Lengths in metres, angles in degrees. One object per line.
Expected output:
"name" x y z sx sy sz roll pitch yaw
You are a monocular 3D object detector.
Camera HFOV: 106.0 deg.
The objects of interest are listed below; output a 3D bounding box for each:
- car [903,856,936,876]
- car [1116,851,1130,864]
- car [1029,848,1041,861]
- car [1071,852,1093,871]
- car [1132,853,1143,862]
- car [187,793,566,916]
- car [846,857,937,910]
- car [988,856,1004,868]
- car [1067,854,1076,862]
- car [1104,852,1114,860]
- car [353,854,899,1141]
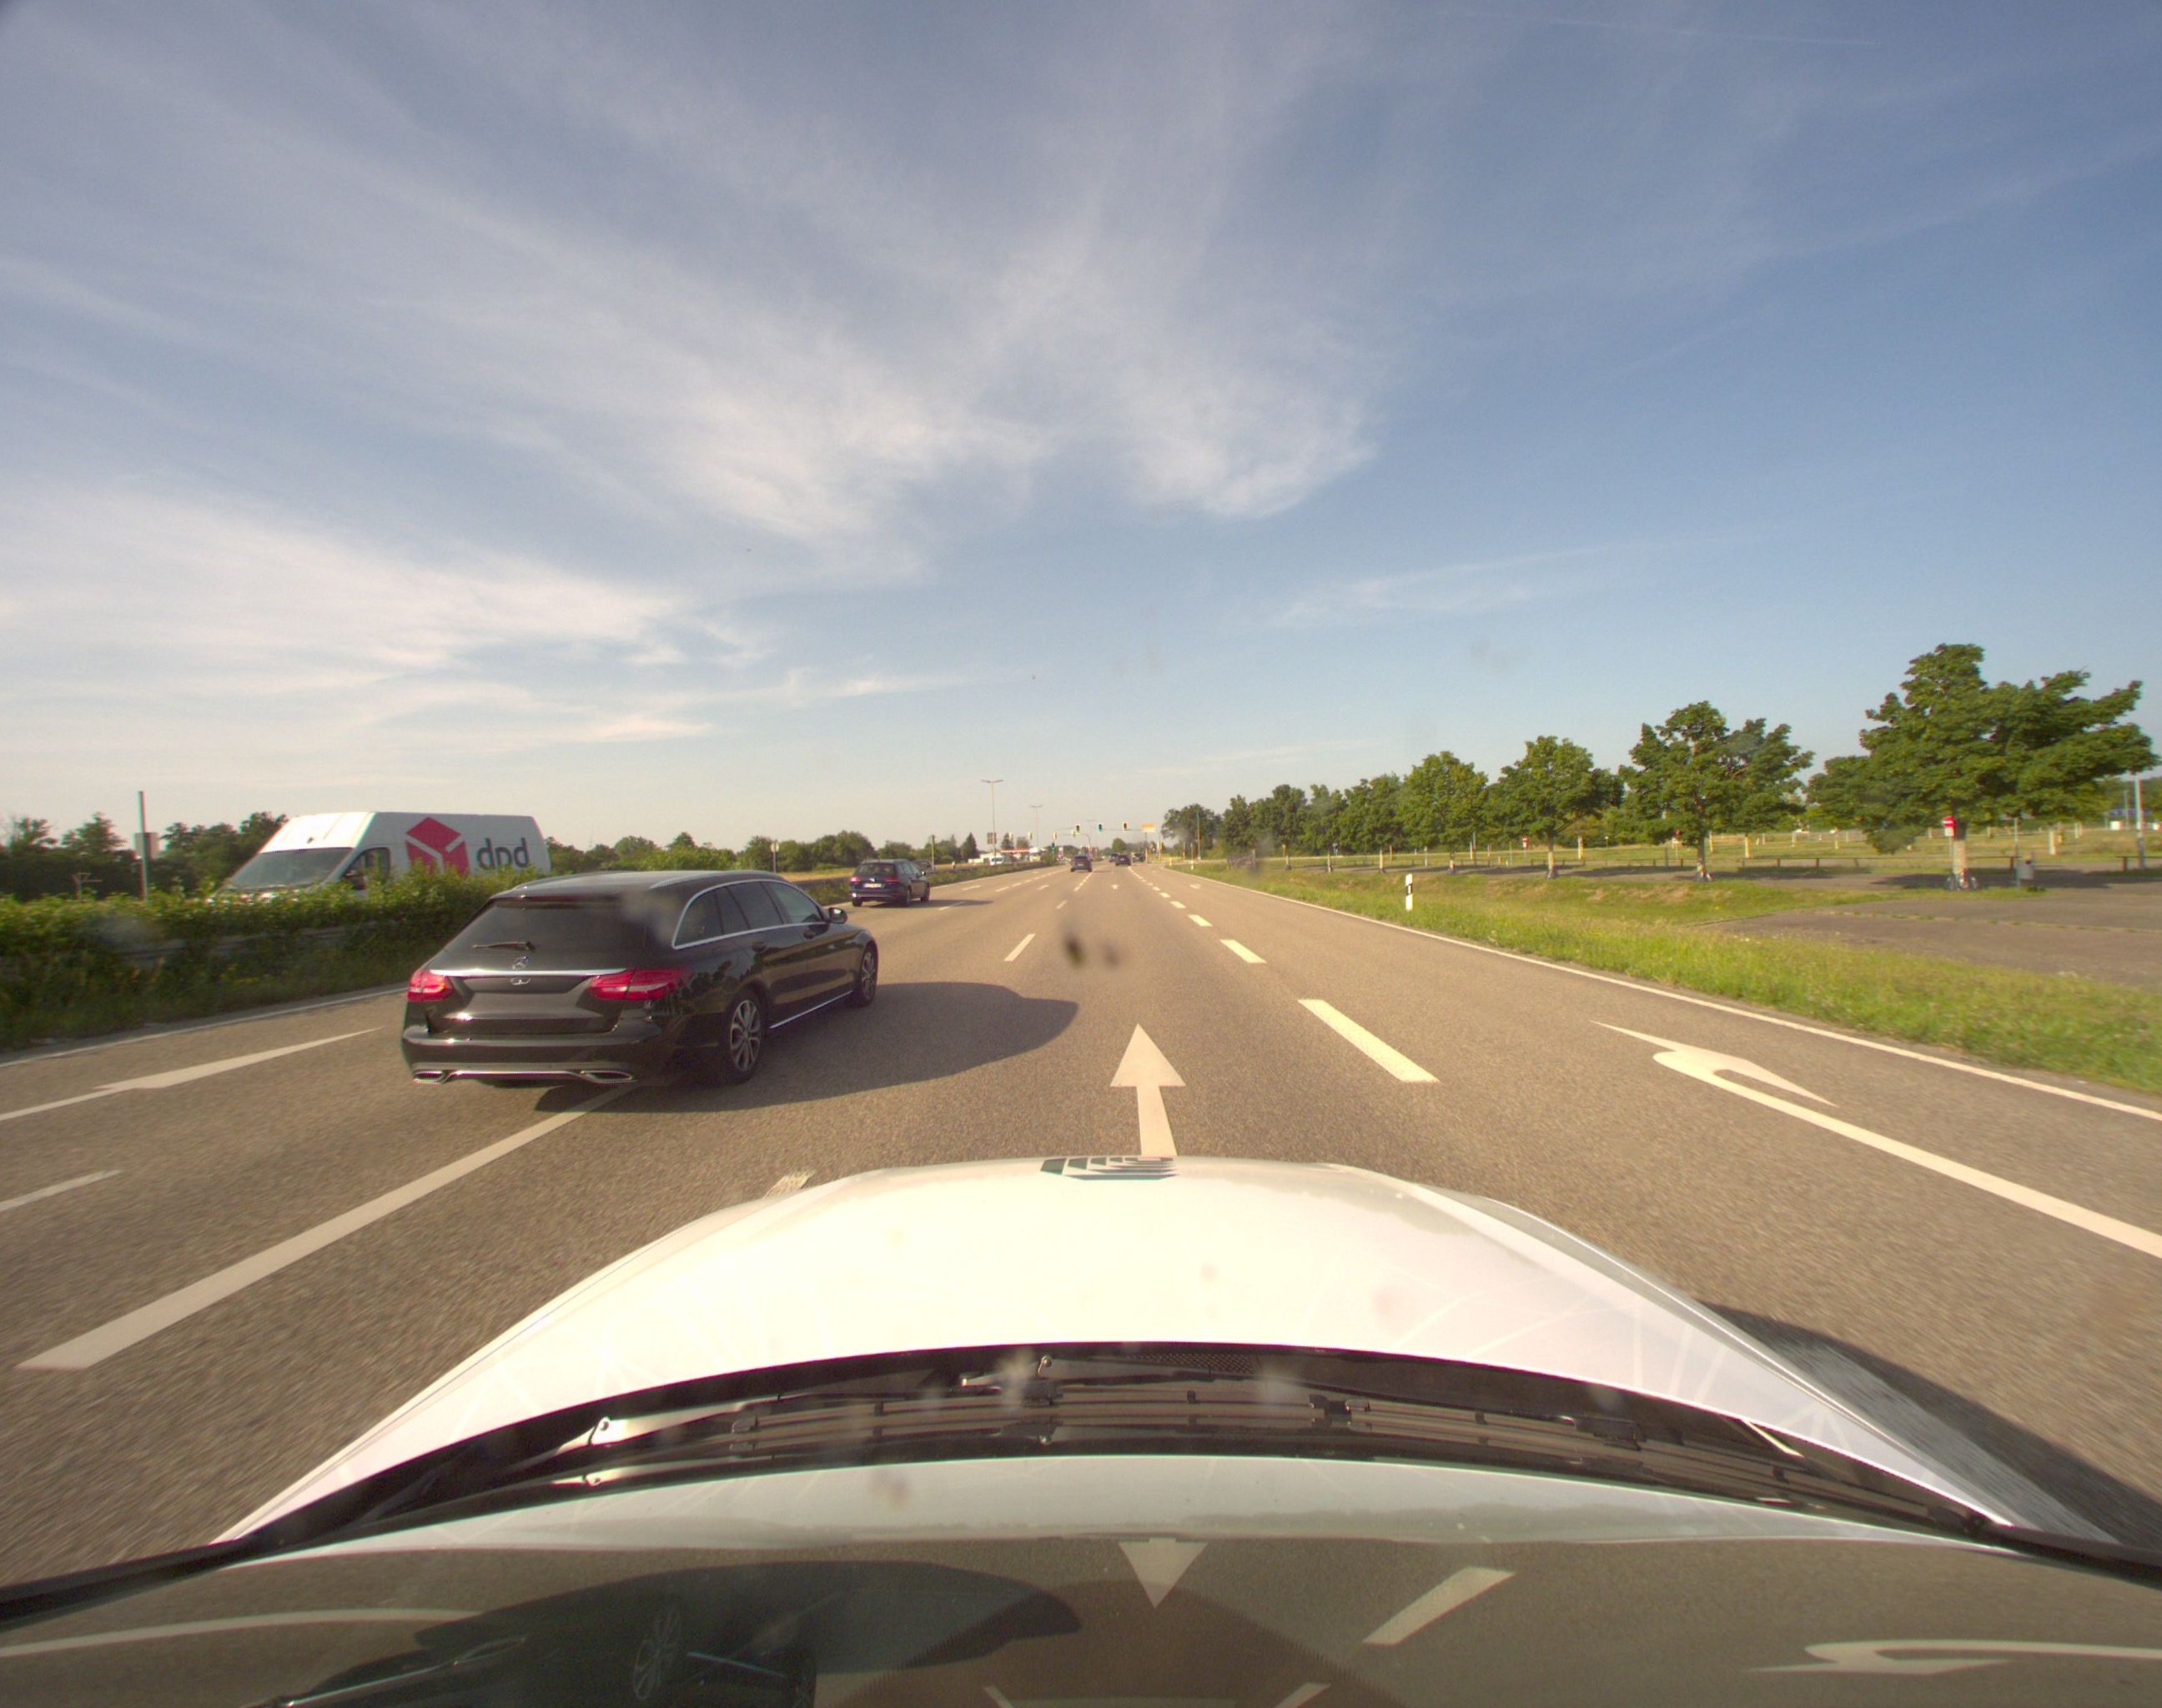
"car" -11.902 0.887 60.147 1.604 1.441 3.621 0 -1 2
"car" 5.679 0.479 110.703 1.925 1.680 4.403 1 0 2
"car" -10.992 0.135 194.702 2.263 2.852 5.251 -1 0 2
"car" 0.118 0.662 74.968 1.839 1.611 4.403 1 0 2
"car" 9.958 0.584 143.285 1.742 1.617 3.759 1 0 2
"car" -13.776 0.050 16.782 2.153 2.035 6.325 0 -1 2
"car" -6.003 0.874 26.340 1.640 1.471 4.779 -2 0 2
"car" -10.734 1.019 103.251 1.515 1.363 3.445 -1 0 2
"car" -1.794 0.701 160.026 1.594 1.532 4.002 1 0 2
"car" 4.958 0.385 145.626 1.806 1.463 4.403 1 0 2
"car" -2.983 0.764 6.837 1.566 1.471 5.025 -2 0 2
